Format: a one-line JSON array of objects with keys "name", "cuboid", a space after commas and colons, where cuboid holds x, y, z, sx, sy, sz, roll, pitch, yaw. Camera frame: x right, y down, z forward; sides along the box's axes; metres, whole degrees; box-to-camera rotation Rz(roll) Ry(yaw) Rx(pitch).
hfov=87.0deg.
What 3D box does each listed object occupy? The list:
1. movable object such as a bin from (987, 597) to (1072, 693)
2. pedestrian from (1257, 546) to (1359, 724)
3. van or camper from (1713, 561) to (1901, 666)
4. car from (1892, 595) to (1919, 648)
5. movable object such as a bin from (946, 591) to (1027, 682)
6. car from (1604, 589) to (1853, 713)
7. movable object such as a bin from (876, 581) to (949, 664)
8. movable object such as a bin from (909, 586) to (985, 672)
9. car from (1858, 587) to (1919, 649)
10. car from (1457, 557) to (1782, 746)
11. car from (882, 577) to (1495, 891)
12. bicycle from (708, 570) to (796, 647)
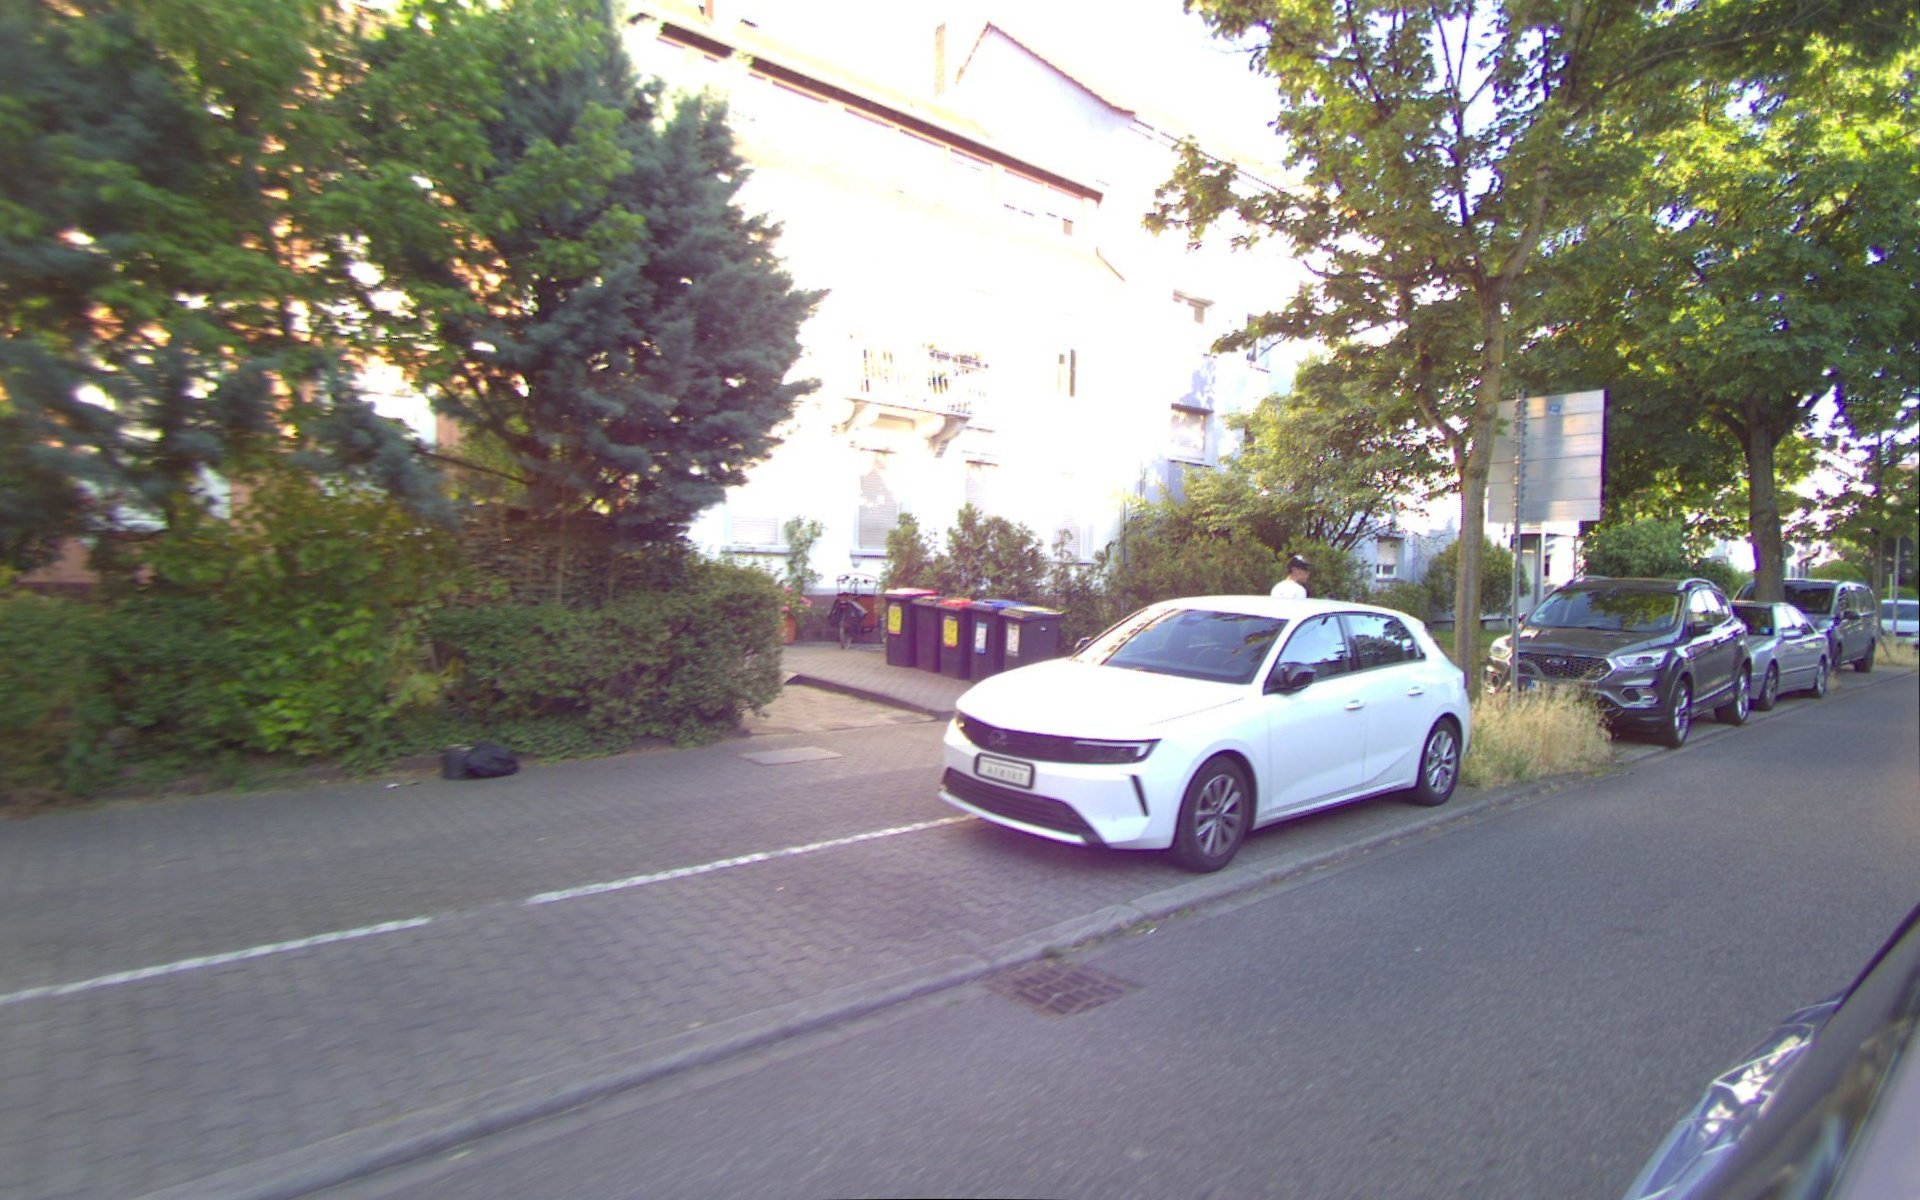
[{"name": "movable object such as a bin", "cuboid": [0.853, 0.528, 12.419, 0.672, 1.070, 0.727, 0, 5, -41]}, {"name": "pedestrian", "cuboid": [3.702, 0.346, 10.773, 0.751, 1.805, 0.669, -2, 0, -40]}, {"name": "van or camper", "cuboid": [17.174, 0.259, 20.419, 5.164, 1.865, 1.998, 2, 0, -40]}, {"name": "car", "cuboid": [28.989, 0.658, 29.844, 4.264, 1.461, 1.737, 1, 2, -42]}, {"name": "movable object such as a bin", "cuboid": [0.335, 0.450, 13.023, 0.672, 1.070, 0.727, 0, 5, -41]}, {"name": "car", "cuboid": [11.374, 0.636, 14.854, 4.743, 1.523, 1.789, 0, 1, -39]}, {"name": "movable object such as a bin", "cuboid": [-0.672, 0.307, 14.175, 0.672, 1.070, 0.727, 0, 5, -41]}, {"name": "movable object such as a bin", "cuboid": [-0.179, 0.374, 13.603, 0.672, 1.070, 0.727, 0, 5, -41]}, {"name": "car", "cuboid": [25.011, 0.473, 26.490, 4.229, 1.461, 1.737, 1, 2, -42]}, {"name": "car", "cuboid": [7.722, 0.448, 11.655, 4.626, 1.702, 1.920, 0, 3, -42]}, {"name": "car", "cuboid": [1.733, 0.610, 6.776, 4.256, 1.419, 1.766, 0, 3, -40]}, {"name": "bicycle", "cuboid": [-3.294, 0.106, 15.923, 0.656, 1.107, 1.728, 0, 2, -37]}]
